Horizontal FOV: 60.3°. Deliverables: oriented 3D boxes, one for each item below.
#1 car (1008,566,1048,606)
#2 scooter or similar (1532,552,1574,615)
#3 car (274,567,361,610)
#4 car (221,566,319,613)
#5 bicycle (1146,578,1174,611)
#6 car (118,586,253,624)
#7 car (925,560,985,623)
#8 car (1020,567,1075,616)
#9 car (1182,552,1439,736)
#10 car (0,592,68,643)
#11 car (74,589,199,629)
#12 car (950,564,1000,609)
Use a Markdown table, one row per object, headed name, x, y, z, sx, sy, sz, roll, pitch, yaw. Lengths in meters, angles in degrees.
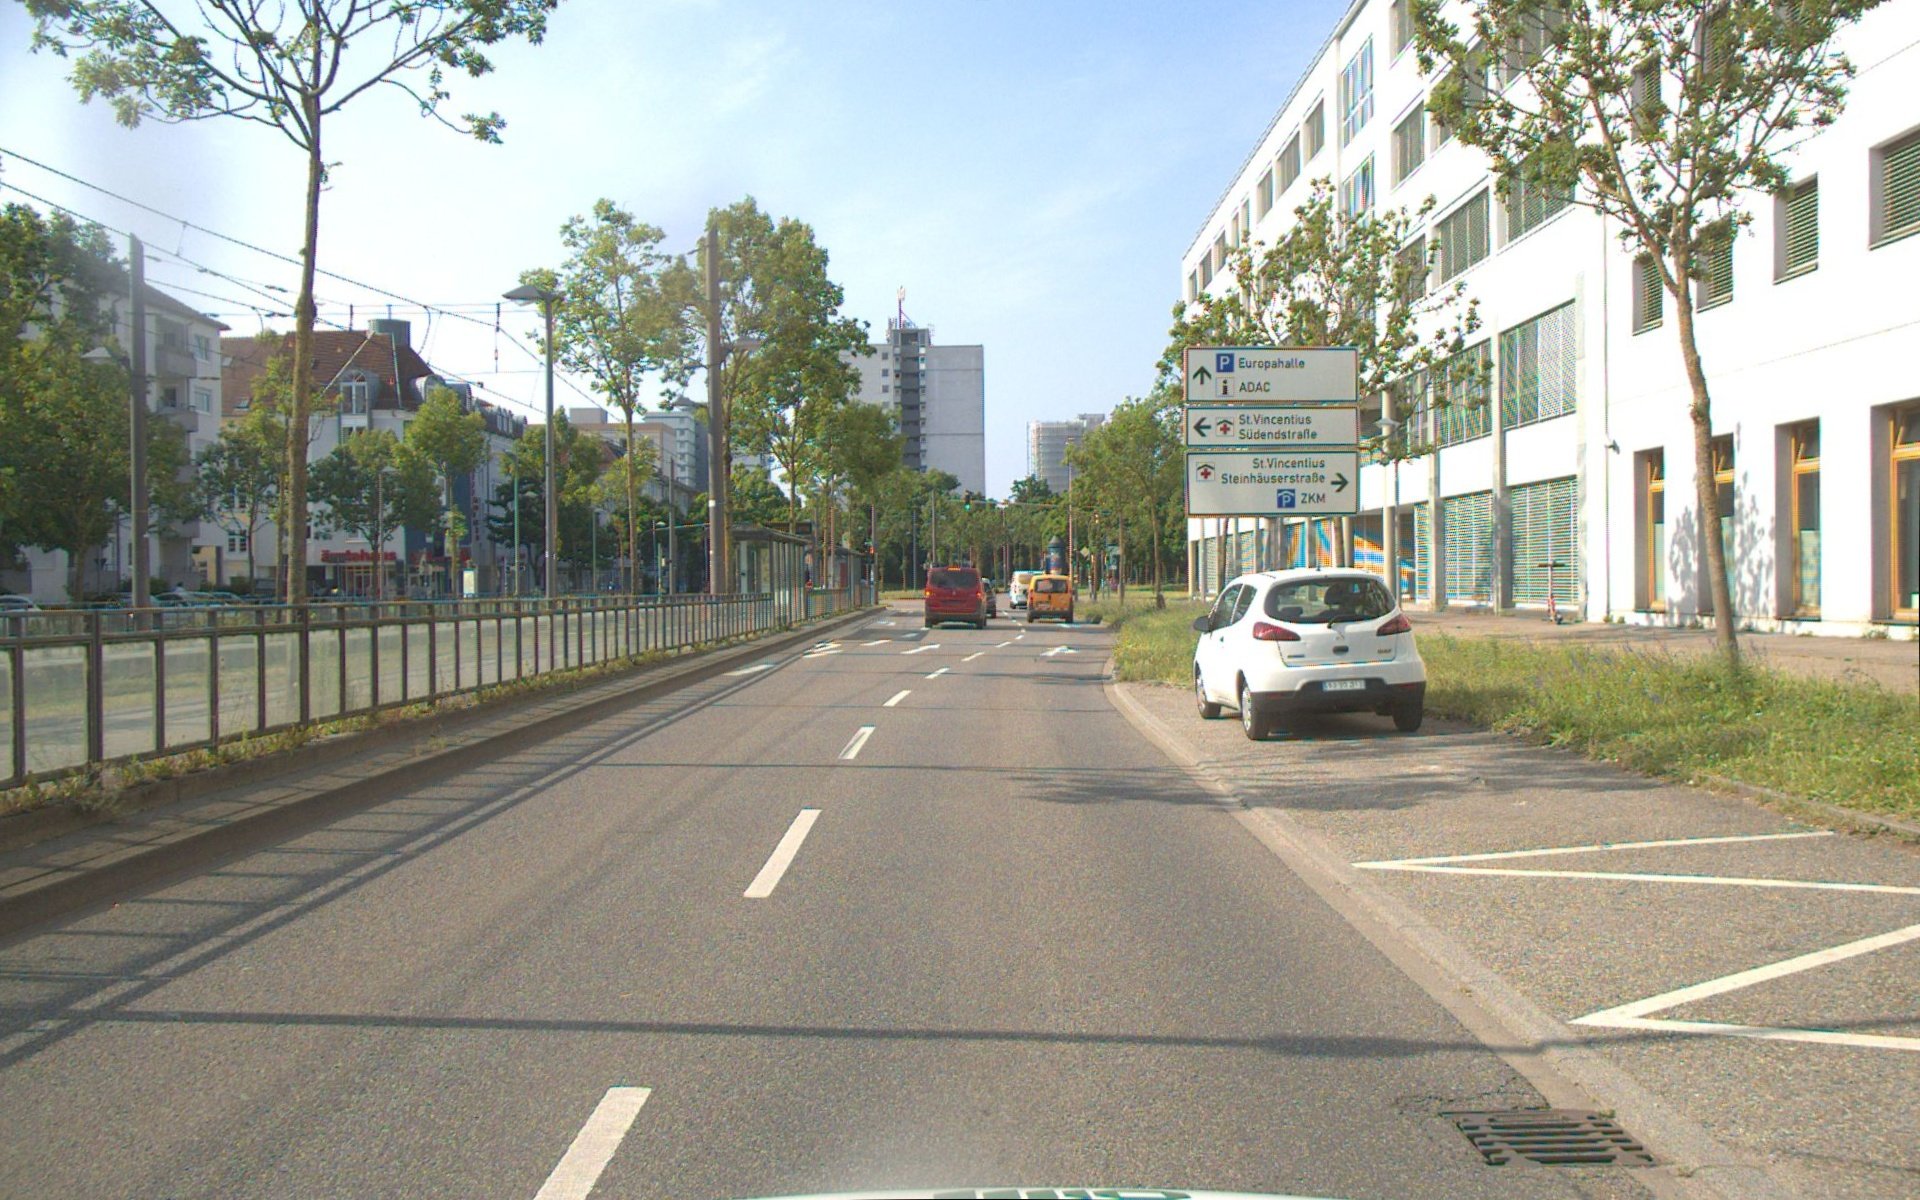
| name | x | y | z | sx | sy | sz | roll | pitch | yaw |
| --- | --- | --- | --- | --- | --- | --- | --- | --- | --- |
| car | 3.620 | -0.745 | 88.256 | 1.953 | 2.049 | 4.000 | 1 | 0 | 0 |
| scooter or similar | 11.856 | -0.337 | 33.084 | 0.452 | 1.234 | 1.255 | -2 | 1 | 6 |
| car | -32.039 | -0.575 | 82.655 | 2.317 | 2.066 | 5.311 | 1 | 0 | -1 |
| car | -31.890 | -0.515 | 76.605 | 2.317 | 2.066 | 5.311 | 1 | 0 | -1 |
| bicycle | 6.284 | -0.181 | 52.008 | 0.605 | 1.035 | 1.879 | -1 | 1 | -1 |
| car | -26.866 | 0.172 | 57.385 | 3.902 | 1.266 | 1.941 | 0 | 1 | 15 |
| car | -0.196 | -0.286 | 52.687 | 1.836 | 1.885 | 3.999 | -1 | 1 | -1 |
| car | 3.199 | -0.315 | 60.862 | 1.837 | 1.726 | 3.974 | -1 | 1 | 1 |
| car | 3.381 | 0.371 | 16.660 | 1.655 | 1.552 | 3.850 | -3 | 1 | -1 |
| car | -28.518 | 0.494 | 48.768 | 1.940 | 1.403 | 4.683 | 1 | 1 | -1 |
| car | -26.939 | 0.277 | 54.082 | 3.913 | 1.266 | 1.829 | 0 | 1 | 31 |
| car | 0.615 | -0.582 | 68.438 | 1.953 | 1.735 | 4.000 | -2 | 1 | 0 |
